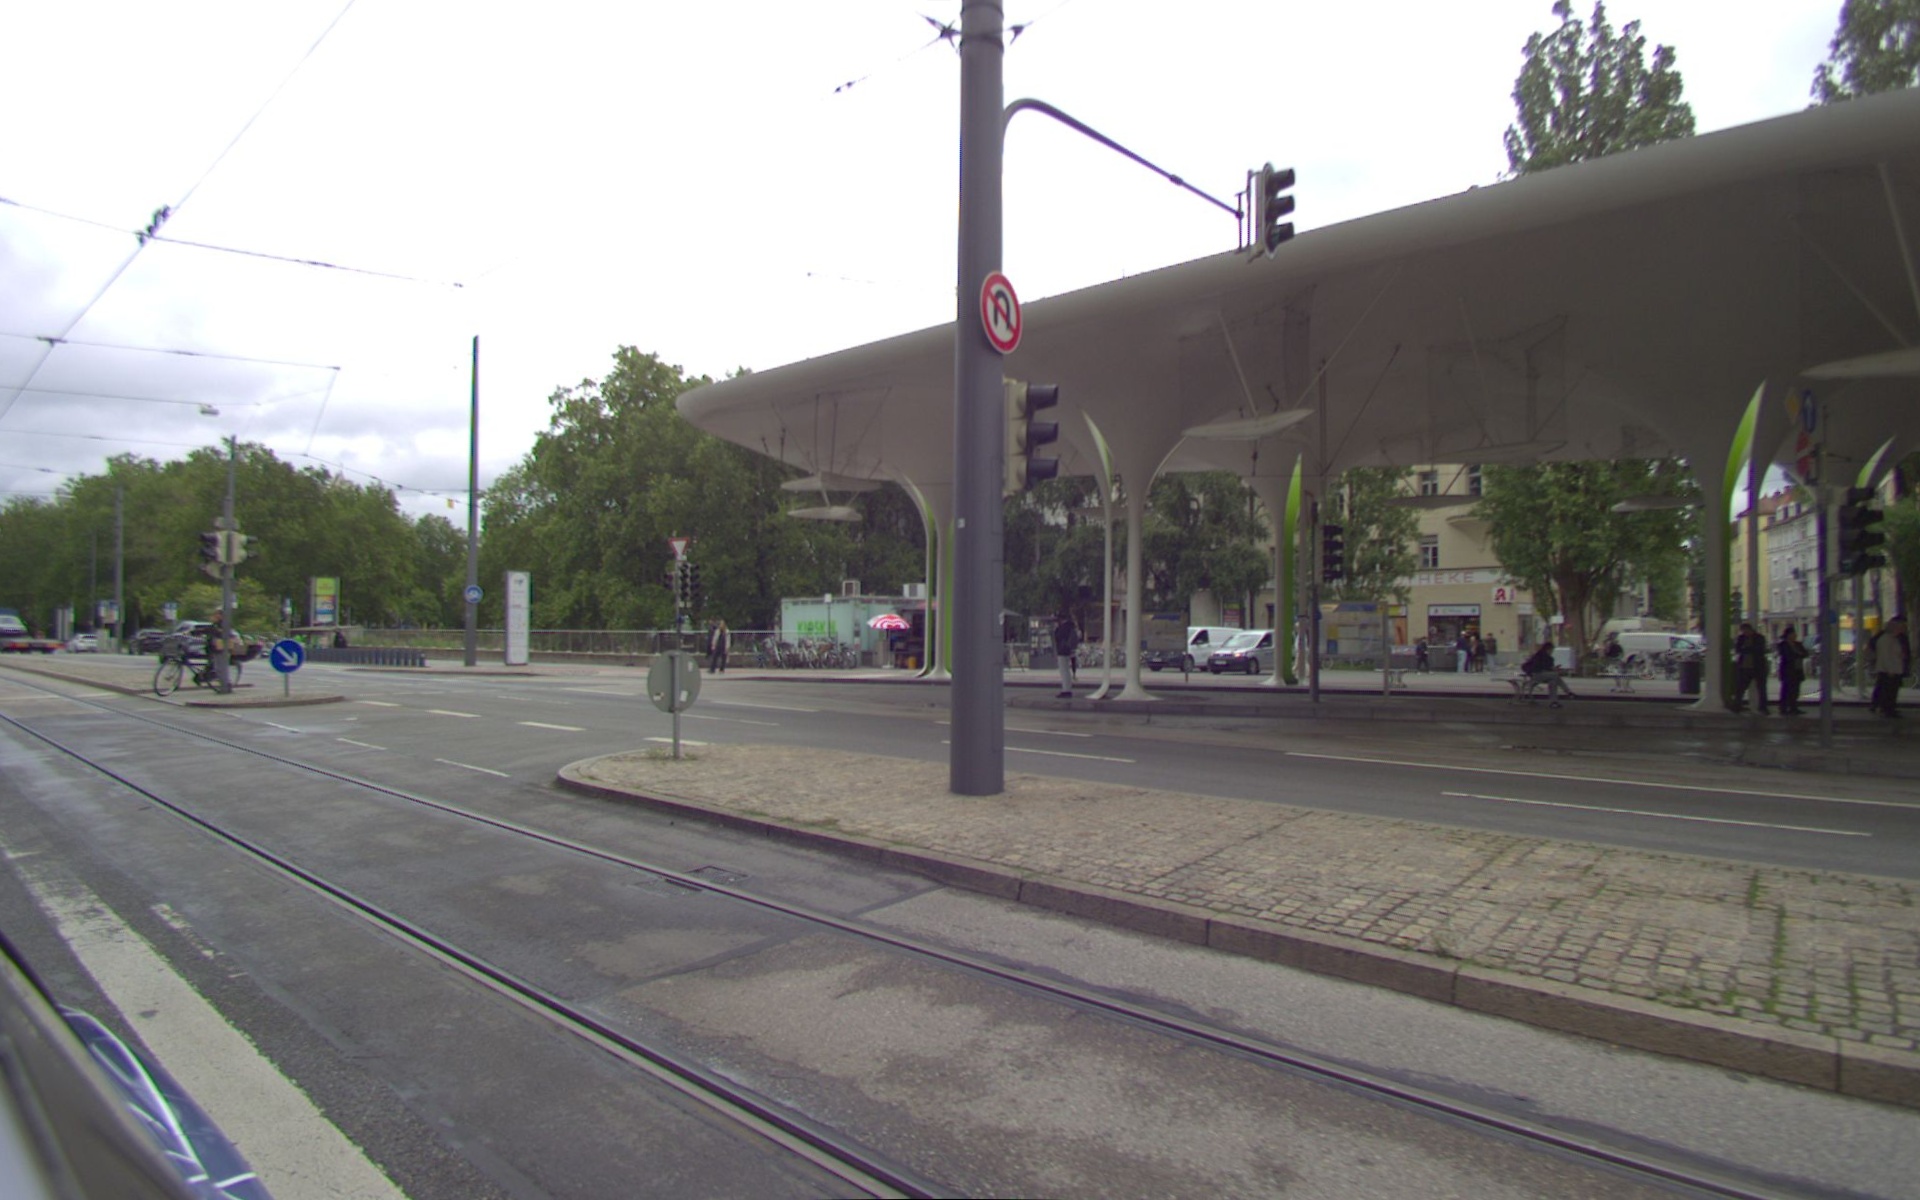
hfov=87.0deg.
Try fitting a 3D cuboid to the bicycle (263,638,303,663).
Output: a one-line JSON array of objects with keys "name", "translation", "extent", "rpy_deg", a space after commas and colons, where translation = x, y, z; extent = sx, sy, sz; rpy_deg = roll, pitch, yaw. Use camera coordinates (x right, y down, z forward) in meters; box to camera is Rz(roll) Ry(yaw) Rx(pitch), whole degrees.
[{"name": "bicycle", "translation": [-32.831, 2.436, 49.099], "extent": [0.556, 1.181, 1.687], "rpy_deg": [-1, -2, 11]}]

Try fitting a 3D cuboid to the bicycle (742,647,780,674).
[{"name": "bicycle", "translation": [-7.096, 2.146, 35.955], "extent": [0.473, 0.901, 1.852], "rpy_deg": [2, -2, -41]}]

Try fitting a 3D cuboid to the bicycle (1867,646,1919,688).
[{"name": "bicycle", "translation": [31.885, 2.210, 33.249], "extent": [0.827, 1.324, 2.950], "rpy_deg": [1, -2, -30]}]

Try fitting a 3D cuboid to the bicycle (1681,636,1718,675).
[{"name": "bicycle", "translation": [32.316, 2.379, 44.197], "extent": [1.000, 1.625, 3.575], "rpy_deg": [-2, -2, 41]}]

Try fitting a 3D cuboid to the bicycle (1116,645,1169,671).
[{"name": "bicycle", "translation": [8.512, 2.691, 47.286], "extent": [2.523, 1.138, 0.635], "rpy_deg": [-1, -2, 42]}]

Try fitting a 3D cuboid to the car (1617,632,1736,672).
[{"name": "car", "translation": [36.212, 2.583, 51.310], "extent": [4.792, 1.934, 1.976], "rpy_deg": [-1, -2, 35]}]

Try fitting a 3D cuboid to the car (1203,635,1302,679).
[{"name": "car", "translation": [11.382, 2.171, 39.332], "extent": [3.937, 1.628, 1.834], "rpy_deg": [2, -2, -41]}]

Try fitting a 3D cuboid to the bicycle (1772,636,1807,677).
[{"name": "bicycle", "translation": [34.534, 2.319, 42.120], "extent": [1.000, 1.625, 3.575], "rpy_deg": [-2, -2, 41]}]

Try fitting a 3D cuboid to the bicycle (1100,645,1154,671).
[{"name": "bicycle", "translation": [7.726, 2.687, 46.804], "extent": [2.523, 1.138, 0.635], "rpy_deg": [-2, -3, 42]}]

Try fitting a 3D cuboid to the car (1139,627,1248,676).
[{"name": "car", "translation": [9.845, 2.135, 42.495], "extent": [4.851, 1.962, 1.874], "rpy_deg": [2, -3, -38]}]

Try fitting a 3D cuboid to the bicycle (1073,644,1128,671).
[{"name": "bicycle", "translation": [6.300, 2.572, 45.419], "extent": [2.523, 1.138, 0.635], "rpy_deg": [-2, -2, 42]}]

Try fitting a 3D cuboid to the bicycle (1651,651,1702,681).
[{"name": "bicycle", "translation": [28.693, 2.619, 40.509], "extent": [2.639, 1.143, 0.741], "rpy_deg": [1, -2, -34]}]

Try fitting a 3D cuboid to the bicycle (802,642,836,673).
[{"name": "bicycle", "translation": [-5.238, 2.119, 37.461], "extent": [0.472, 1.104, 1.854], "rpy_deg": [1, -2, -35]}]

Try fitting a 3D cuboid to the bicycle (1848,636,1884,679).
[{"name": "bicycle", "translation": [36.263, 2.272, 40.543], "extent": [1.000, 1.625, 3.575], "rpy_deg": [-2, -2, 41]}]

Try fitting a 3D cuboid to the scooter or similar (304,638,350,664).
[{"name": "scooter or similar", "translation": [-29.134, 2.337, 46.582], "extent": [0.561, 1.181, 1.671], "rpy_deg": [-2, -2, 39]}]

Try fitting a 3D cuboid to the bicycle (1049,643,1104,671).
[{"name": "bicycle", "translation": [5.068, 2.467, 44.179], "extent": [2.523, 1.138, 0.635], "rpy_deg": [-1, -2, 42]}]

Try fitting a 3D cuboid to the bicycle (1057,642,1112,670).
[{"name": "bicycle", "translation": [5.492, 2.458, 44.698], "extent": [2.523, 1.138, 0.635], "rpy_deg": [-1, -2, 42]}]

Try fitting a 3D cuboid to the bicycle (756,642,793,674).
[{"name": "bicycle", "translation": [-6.663, 2.064, 36.290], "extent": [0.472, 1.104, 1.853], "rpy_deg": [2, -2, -38]}]

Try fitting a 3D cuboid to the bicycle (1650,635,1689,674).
[{"name": "bicycle", "translation": [31.551, 2.400, 44.978], "extent": [1.000, 1.625, 3.575], "rpy_deg": [-2, -2, 41]}]

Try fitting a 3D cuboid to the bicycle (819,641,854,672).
[{"name": "bicycle", "translation": [-4.622, 2.104, 37.870], "extent": [0.472, 1.104, 1.854], "rpy_deg": [1, -2, -35]}]

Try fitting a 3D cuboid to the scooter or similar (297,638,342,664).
[{"name": "scooter or similar", "translation": [-29.984, 2.361, 47.408], "extent": [0.561, 1.181, 1.671], "rpy_deg": [-2, -2, 39]}]

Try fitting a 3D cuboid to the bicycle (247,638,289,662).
[{"name": "bicycle", "translation": [-34.718, 2.487, 50.794], "extent": [0.560, 1.181, 1.675], "rpy_deg": [-1, -2, 31]}]

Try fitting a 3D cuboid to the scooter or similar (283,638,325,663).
[{"name": "scooter or similar", "translation": [-31.647, 2.406, 48.815], "extent": [0.558, 1.181, 1.680], "rpy_deg": [-1, -2, 22]}]

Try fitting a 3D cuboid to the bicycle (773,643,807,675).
[{"name": "bicycle", "translation": [-6.169, 2.140, 36.684], "extent": [0.472, 1.104, 1.854], "rpy_deg": [1, -2, -35]}]

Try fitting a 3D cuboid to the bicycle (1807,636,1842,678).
[{"name": "bicycle", "translation": [35.316, 2.297, 41.326], "extent": [1.000, 1.625, 3.575], "rpy_deg": [-2, -2, 41]}]

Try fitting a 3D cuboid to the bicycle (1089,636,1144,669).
[{"name": "bicycle", "translation": [7.169, 2.395, 46.385], "extent": [2.562, 1.432, 0.627], "rpy_deg": [-1, -2, 42]}]

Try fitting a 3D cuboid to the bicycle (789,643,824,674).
[{"name": "bicycle", "translation": [-5.640, 2.128, 37.132], "extent": [0.472, 1.104, 1.854], "rpy_deg": [1, -2, -35]}]

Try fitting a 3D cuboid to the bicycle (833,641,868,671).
[{"name": "bicycle", "translation": [-4.124, 2.092, 38.160], "extent": [0.472, 1.104, 1.854], "rpy_deg": [1, -2, -35]}]

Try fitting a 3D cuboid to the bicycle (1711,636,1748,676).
[{"name": "bicycle", "translation": [33.083, 2.358, 43.487], "extent": [1.000, 1.625, 3.575], "rpy_deg": [-2, -2, 41]}]

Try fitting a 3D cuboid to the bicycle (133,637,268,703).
[{"name": "bicycle", "translation": [-14.987, 1.345, 20.051], "extent": [0.503, 1.159, 2.215], "rpy_deg": [0, -1, 21]}]

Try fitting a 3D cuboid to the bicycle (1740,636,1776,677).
[{"name": "bicycle", "translation": [33.746, 2.340, 42.769], "extent": [1.000, 1.625, 3.575], "rpy_deg": [-2, -2, 41]}]

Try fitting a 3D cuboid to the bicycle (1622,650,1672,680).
[{"name": "bicycle", "translation": [28.012, 2.638, 41.260], "extent": [2.639, 1.143, 0.741], "rpy_deg": [1, -2, -34]}]
